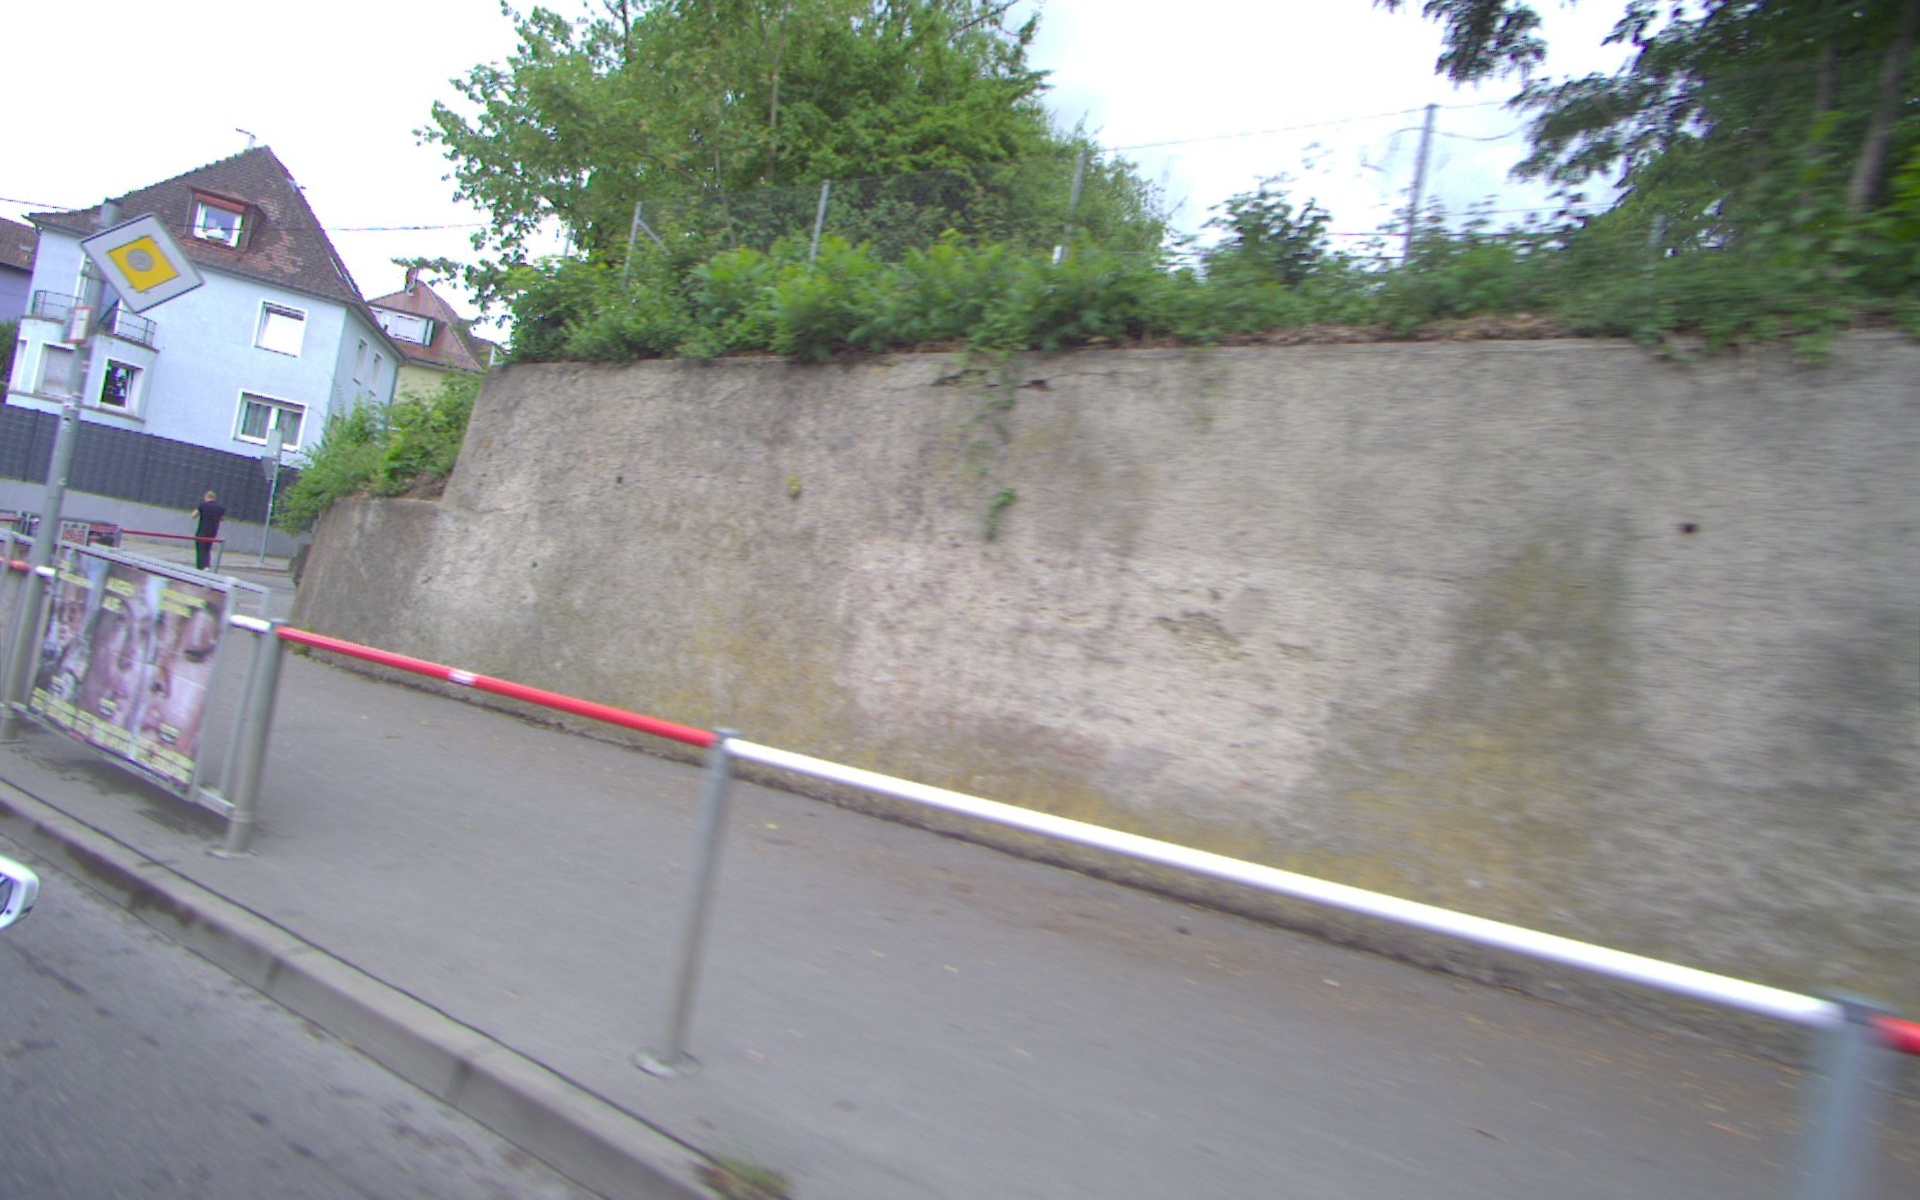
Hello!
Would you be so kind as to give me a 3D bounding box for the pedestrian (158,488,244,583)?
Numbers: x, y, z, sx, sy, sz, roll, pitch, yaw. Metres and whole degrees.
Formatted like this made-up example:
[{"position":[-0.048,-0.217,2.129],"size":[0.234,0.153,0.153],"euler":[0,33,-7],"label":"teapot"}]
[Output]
[{"position":[-16.152,-1.350,21.447],"size":[0.999,1.832,0.819],"euler":[9,0,-13],"label":"pedestrian"}]
